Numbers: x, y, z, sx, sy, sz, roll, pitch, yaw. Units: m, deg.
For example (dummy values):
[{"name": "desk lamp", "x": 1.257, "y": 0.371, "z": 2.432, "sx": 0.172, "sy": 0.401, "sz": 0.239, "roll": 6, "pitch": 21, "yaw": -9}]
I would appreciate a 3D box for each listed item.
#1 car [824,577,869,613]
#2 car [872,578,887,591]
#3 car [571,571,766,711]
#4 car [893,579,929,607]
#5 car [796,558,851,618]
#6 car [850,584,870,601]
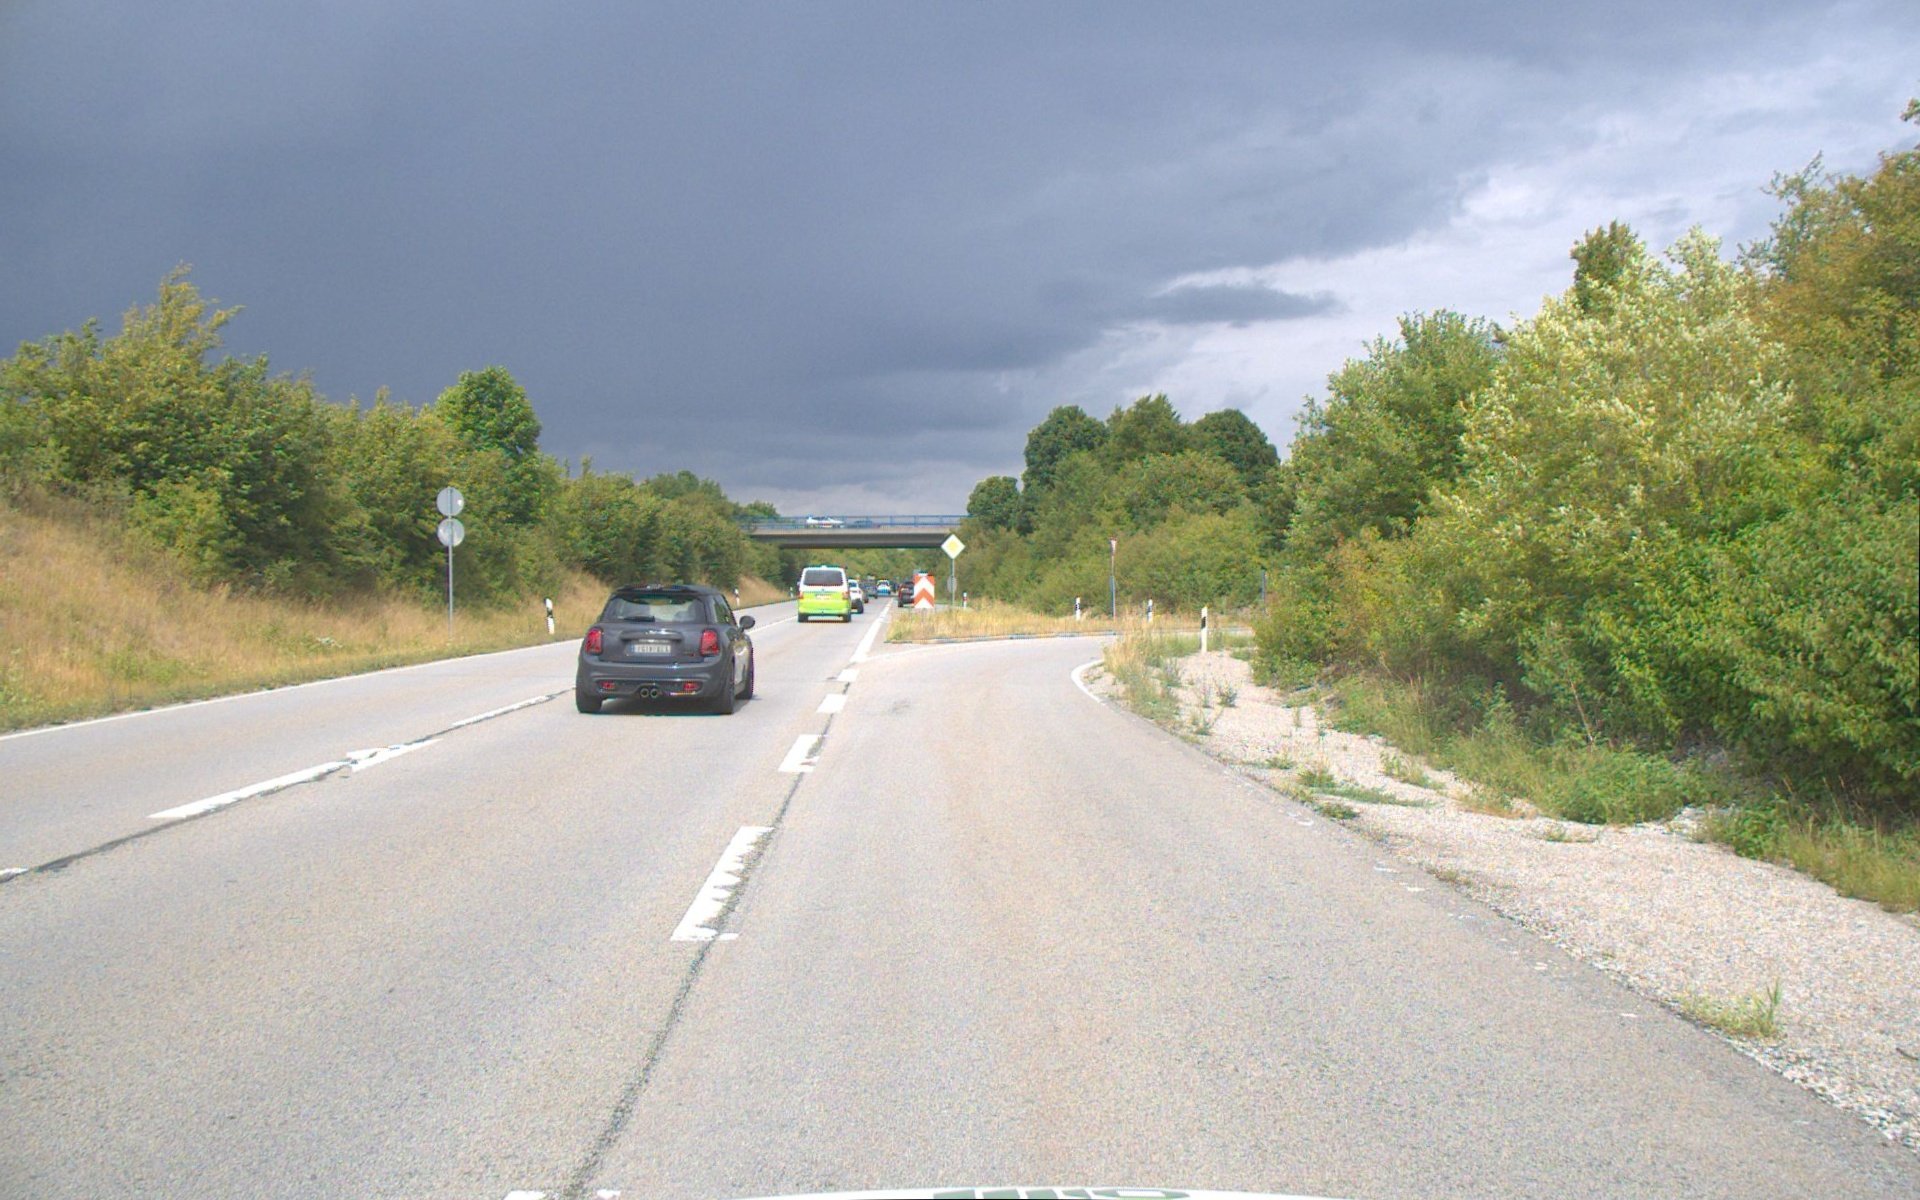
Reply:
[{"name": "car", "x": -5.301, "y": -0.251, "z": 77.515, "sx": 1.953, "sy": 1.579, "sz": 3.998, "roll": 1, "pitch": 1, "yaw": -2}, {"name": "car", "x": -9.653, "y": -1.864, "z": 198.788, "sx": 1.633, "sy": 1.427, "sz": 3.999, "roll": 1, "pitch": 1, "yaw": -2}, {"name": "car", "x": -3.343, "y": 0.415, "z": 19.653, "sx": 1.721, "sy": 1.452, "sz": 3.998, "roll": 1, "pitch": 1, "yaw": -2}, {"name": "car", "x": -2.936, "y": -0.408, "z": 98.495, "sx": 1.954, "sy": 1.579, "sz": 3.997, "roll": 1, "pitch": 1, "yaw": -4}, {"name": "car", "x": -4.953, "y": -0.441, "z": 60.605, "sx": 1.783, "sy": 2.090, "sz": 3.998, "roll": 1, "pitch": 0, "yaw": -2}, {"name": "car", "x": -8.714, "y": -0.630, "z": 145.037, "sx": 1.633, "sy": 1.427, "sz": 3.999, "roll": 1, "pitch": 1, "yaw": -2}]
